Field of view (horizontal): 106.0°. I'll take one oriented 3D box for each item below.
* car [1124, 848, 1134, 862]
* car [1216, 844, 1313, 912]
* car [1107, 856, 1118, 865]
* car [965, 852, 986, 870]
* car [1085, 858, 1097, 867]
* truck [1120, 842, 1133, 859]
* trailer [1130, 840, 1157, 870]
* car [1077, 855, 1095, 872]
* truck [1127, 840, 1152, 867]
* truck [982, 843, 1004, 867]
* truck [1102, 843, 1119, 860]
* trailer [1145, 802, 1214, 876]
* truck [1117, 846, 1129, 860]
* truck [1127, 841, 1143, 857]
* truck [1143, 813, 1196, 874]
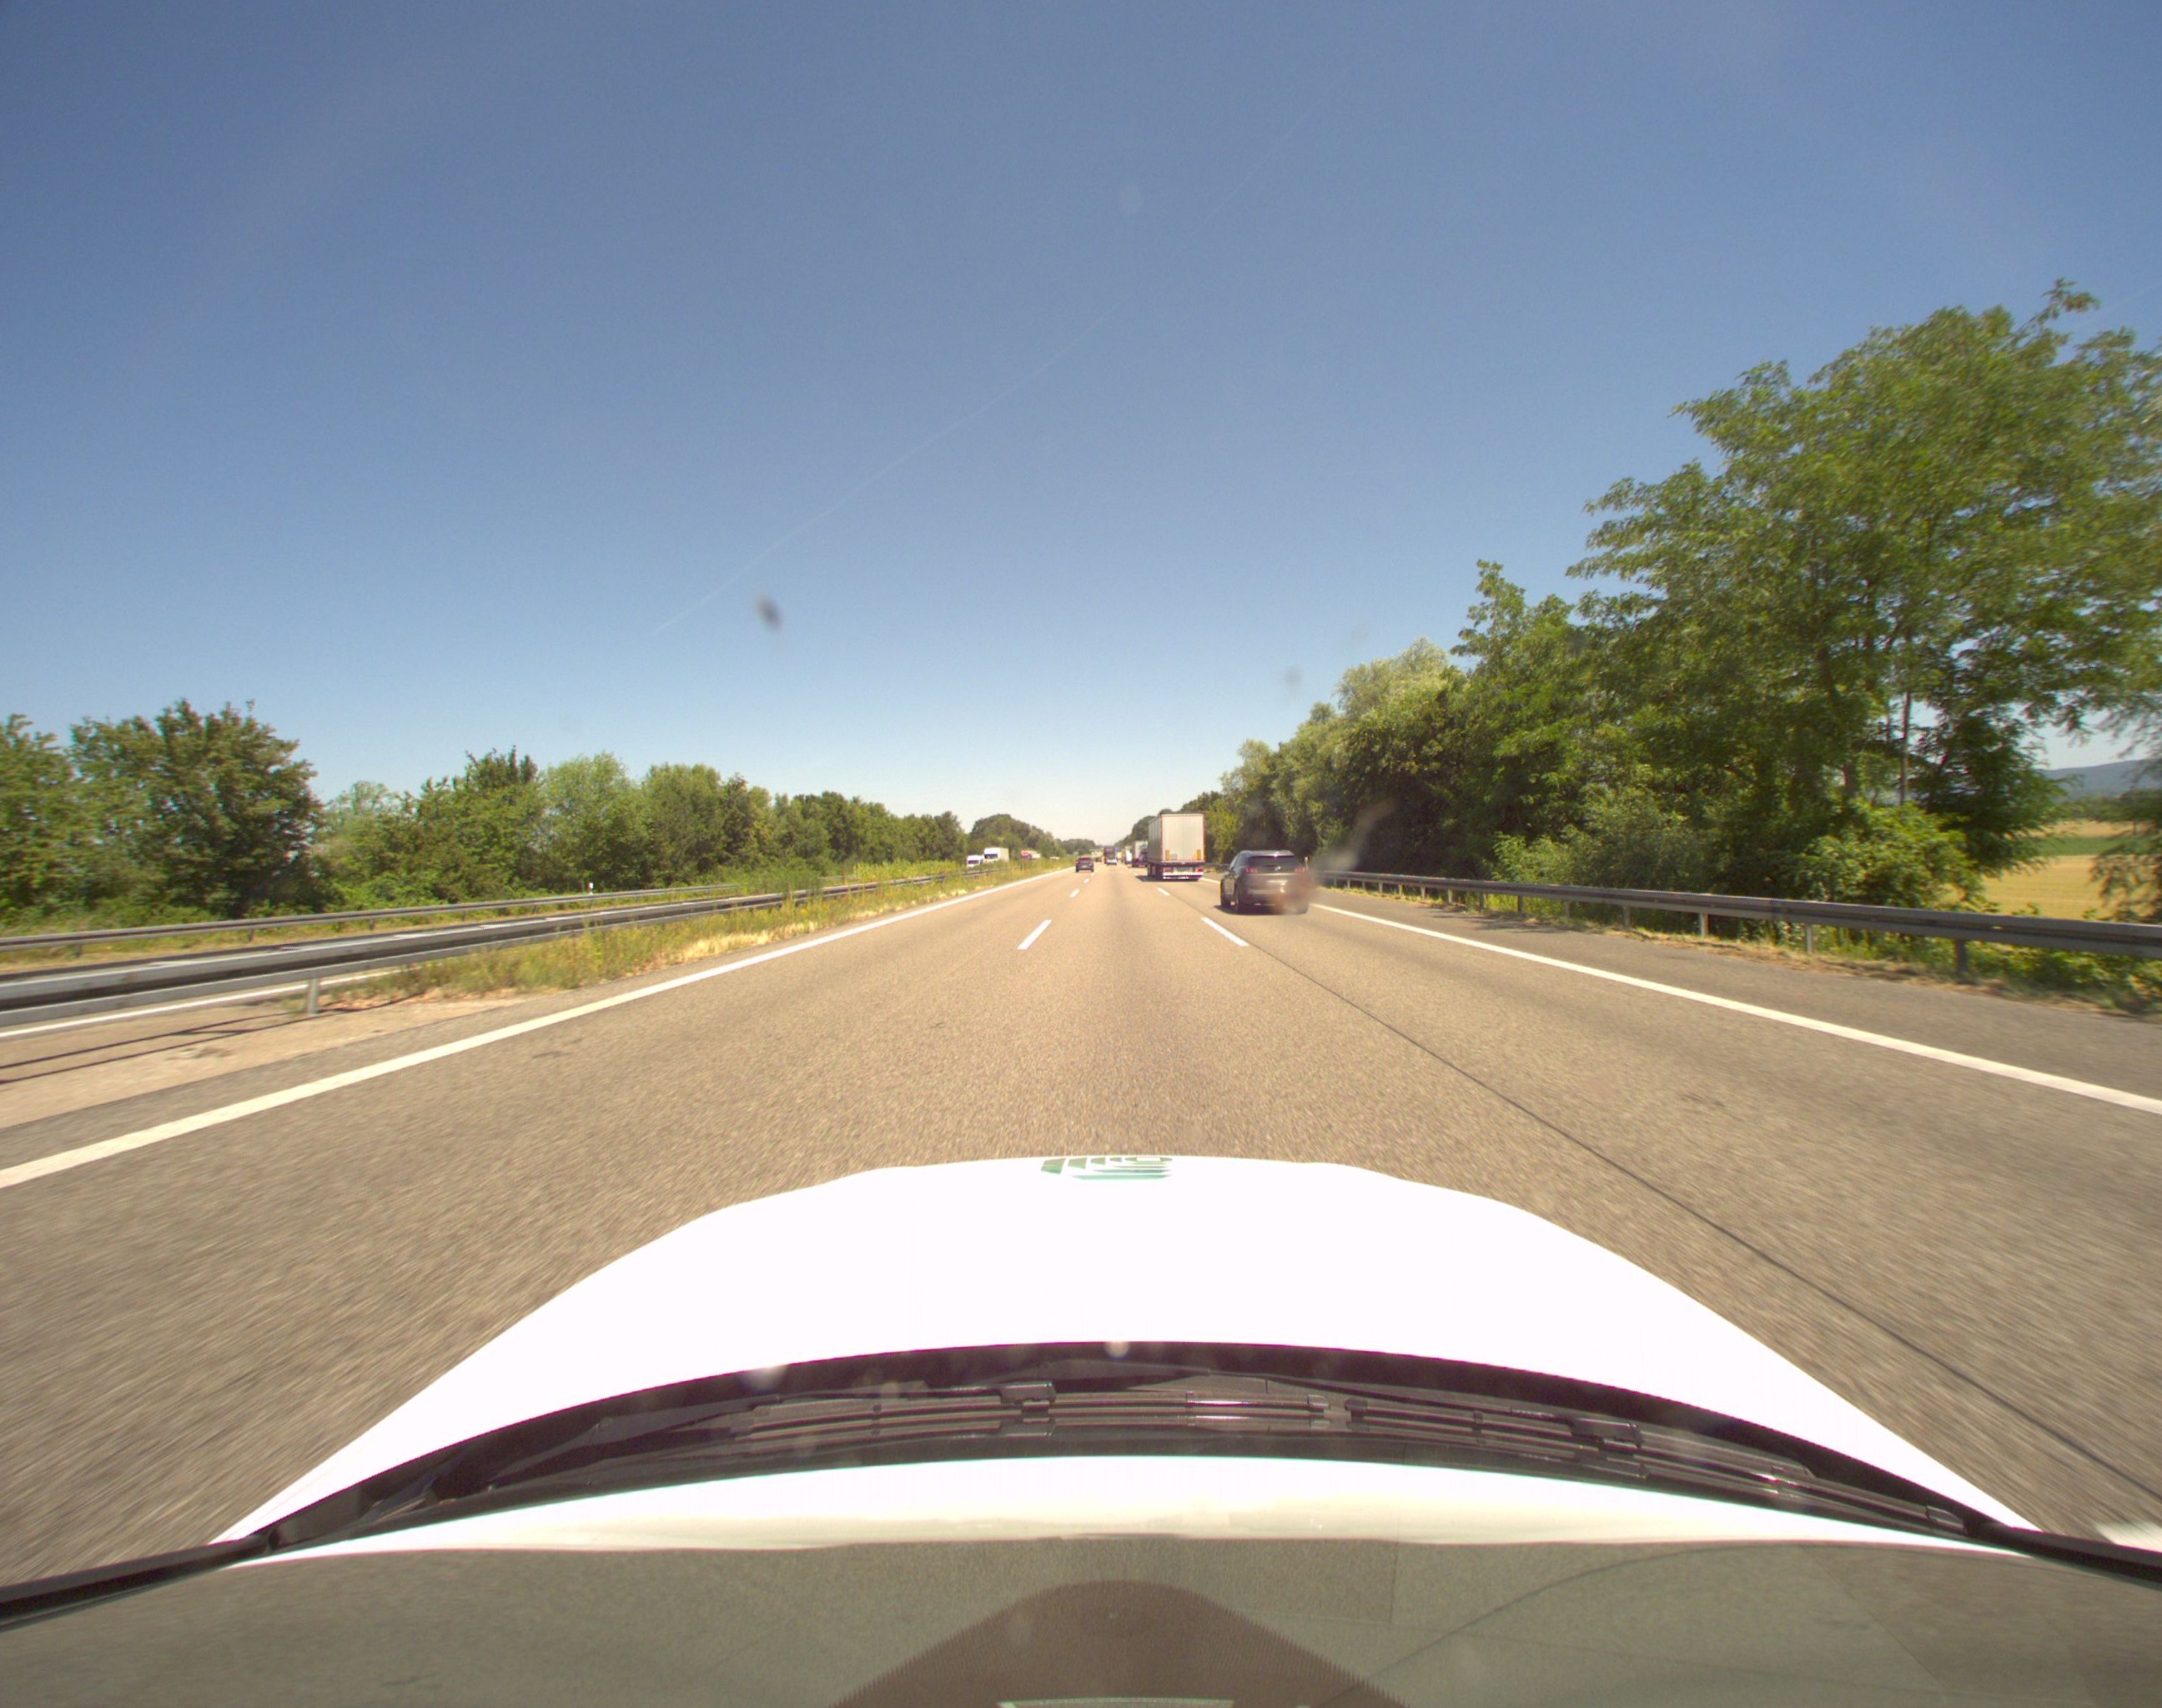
[{"bbox_3d":[9.165,0.177,155.620,1.900,2.425,4.288,0,1,2],"label":"car"},{"bbox_3d":[4.880,0.589,22.206,1.838,1.628,4.137,-2,0,2],"label":"car"},{"bbox_3d":[5.659,1.143,146.543,1.893,1.531,4.086,0,1,2],"label":"car"},{"bbox_3d":[-15.601,1.030,120.531,2.095,2.463,6.018,-2,0,2],"label":"car"},{"bbox_3d":[1.793,1.502,142.722,1.893,1.531,4.086,0,1,2],"label":"car"},{"bbox_3d":[10.074,-0.822,179.743,2.781,3.725,7.115,0,1,3],"label":"truck"},{"bbox_3d":[8.520,0.035,112.272,3.111,3.926,9.939,0,1,1],"label":"trailer"},{"bbox_3d":[0.517,0.951,82.859,1.752,1.531,4.288,0,1,2],"label":"car"},{"bbox_3d":[8.656,-0.128,122.205,3.047,3.879,10.033,0,1,0],"label":"truck"},{"bbox_3d":[-15.818,0.093,146.720,3.060,4.111,6.528,0,1,1],"label":"truck"},{"bbox_3d":[6.965,-0.625,191.555,3.652,3.725,7.115,0,1,3],"label":"truck"},{"bbox_3d":[6.131,-0.837,53.314,3.421,4.181,13.640,0,0,2],"label":"trailer"},{"bbox_3d":[12.269,-0.328,236.911,3.474,3.725,7.115,0,1,3],"label":"truck"},{"bbox_3d":[12.768,-1.200,191.515,3.652,3.725,7.115,0,1,3],"label":"truck"},{"bbox_3d":[6.402,-0.695,59.985,3.451,4.177,6.847,0,-1,2],"label":"truck"}]
